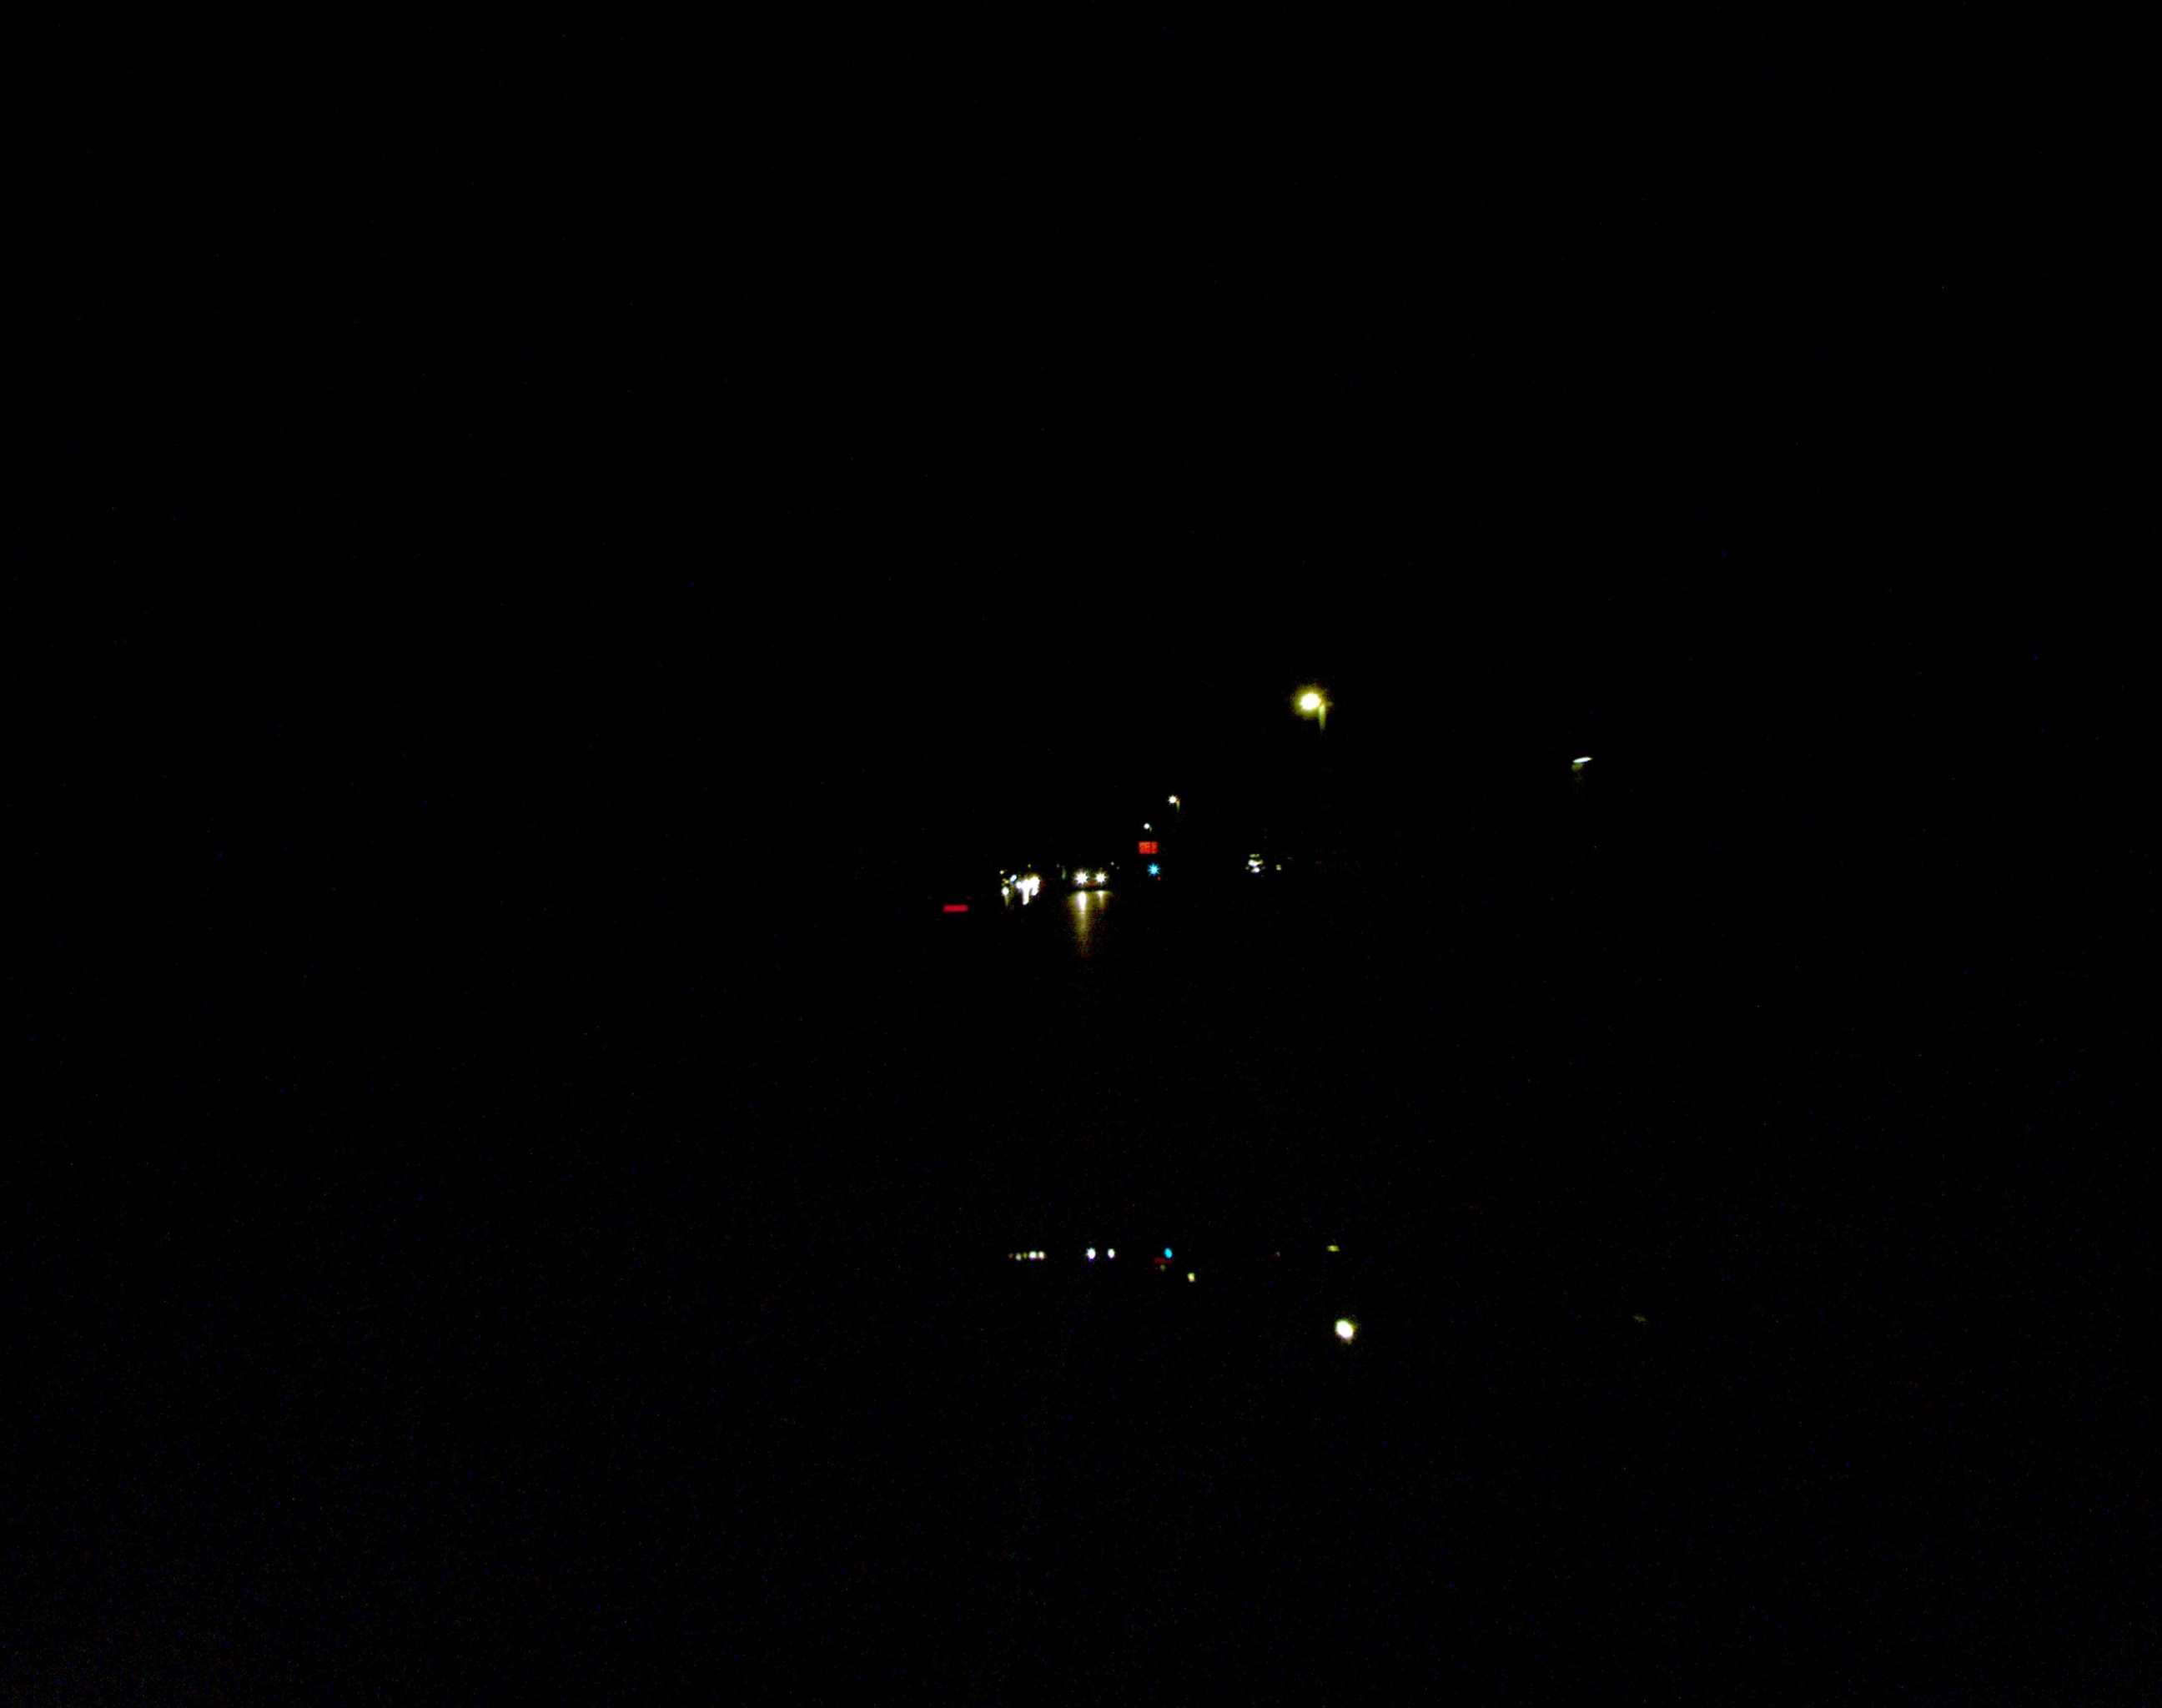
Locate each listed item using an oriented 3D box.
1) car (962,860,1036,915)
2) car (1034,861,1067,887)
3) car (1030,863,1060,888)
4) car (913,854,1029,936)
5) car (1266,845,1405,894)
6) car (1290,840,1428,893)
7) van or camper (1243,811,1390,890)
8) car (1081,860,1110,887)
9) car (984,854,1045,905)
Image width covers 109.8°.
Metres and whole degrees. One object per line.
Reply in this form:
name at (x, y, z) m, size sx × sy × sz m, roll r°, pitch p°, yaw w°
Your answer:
car at (-2.481, 0.979, 23.881) m, size 1.748 × 1.462 × 4.257 m, roll -3°, pitch 0°, yaw 1°
car at (-1.988, 1.349, 51.154) m, size 1.759 × 1.584 × 4.730 m, roll -3°, pitch -1°, yaw 2°
car at (-2.177, 1.330, 46.646) m, size 1.613 × 1.452 × 3.718 m, roll 1°, pitch -2°, yaw 1°
car at (-2.475, 0.856, 18.254) m, size 1.836 × 1.654 × 4.619 m, roll -2°, pitch 0°, yaw 3°
car at (9.269, 0.549, 28.007) m, size 4.427 × 1.604 × 2.065 m, roll -1°, pitch 0°, yaw 2°
car at (9.137, 0.417, 25.180) m, size 3.820 × 1.545 × 1.928 m, roll -2°, pitch -1°, yaw 1°
van or camper at (9.788, -0.165, 31.744) m, size 5.416 × 3.093 × 2.130 m, roll -1°, pitch 1°, yaw -9°
car at (0.800, 1.112, 42.965) m, size 1.513 × 1.492 × 3.050 m, roll -1°, pitch -2°, yaw 0°
car at (-2.475, 0.929, 29.375) m, size 1.723 × 1.750 × 4.759 m, roll -3°, pitch -1°, yaw 2°
